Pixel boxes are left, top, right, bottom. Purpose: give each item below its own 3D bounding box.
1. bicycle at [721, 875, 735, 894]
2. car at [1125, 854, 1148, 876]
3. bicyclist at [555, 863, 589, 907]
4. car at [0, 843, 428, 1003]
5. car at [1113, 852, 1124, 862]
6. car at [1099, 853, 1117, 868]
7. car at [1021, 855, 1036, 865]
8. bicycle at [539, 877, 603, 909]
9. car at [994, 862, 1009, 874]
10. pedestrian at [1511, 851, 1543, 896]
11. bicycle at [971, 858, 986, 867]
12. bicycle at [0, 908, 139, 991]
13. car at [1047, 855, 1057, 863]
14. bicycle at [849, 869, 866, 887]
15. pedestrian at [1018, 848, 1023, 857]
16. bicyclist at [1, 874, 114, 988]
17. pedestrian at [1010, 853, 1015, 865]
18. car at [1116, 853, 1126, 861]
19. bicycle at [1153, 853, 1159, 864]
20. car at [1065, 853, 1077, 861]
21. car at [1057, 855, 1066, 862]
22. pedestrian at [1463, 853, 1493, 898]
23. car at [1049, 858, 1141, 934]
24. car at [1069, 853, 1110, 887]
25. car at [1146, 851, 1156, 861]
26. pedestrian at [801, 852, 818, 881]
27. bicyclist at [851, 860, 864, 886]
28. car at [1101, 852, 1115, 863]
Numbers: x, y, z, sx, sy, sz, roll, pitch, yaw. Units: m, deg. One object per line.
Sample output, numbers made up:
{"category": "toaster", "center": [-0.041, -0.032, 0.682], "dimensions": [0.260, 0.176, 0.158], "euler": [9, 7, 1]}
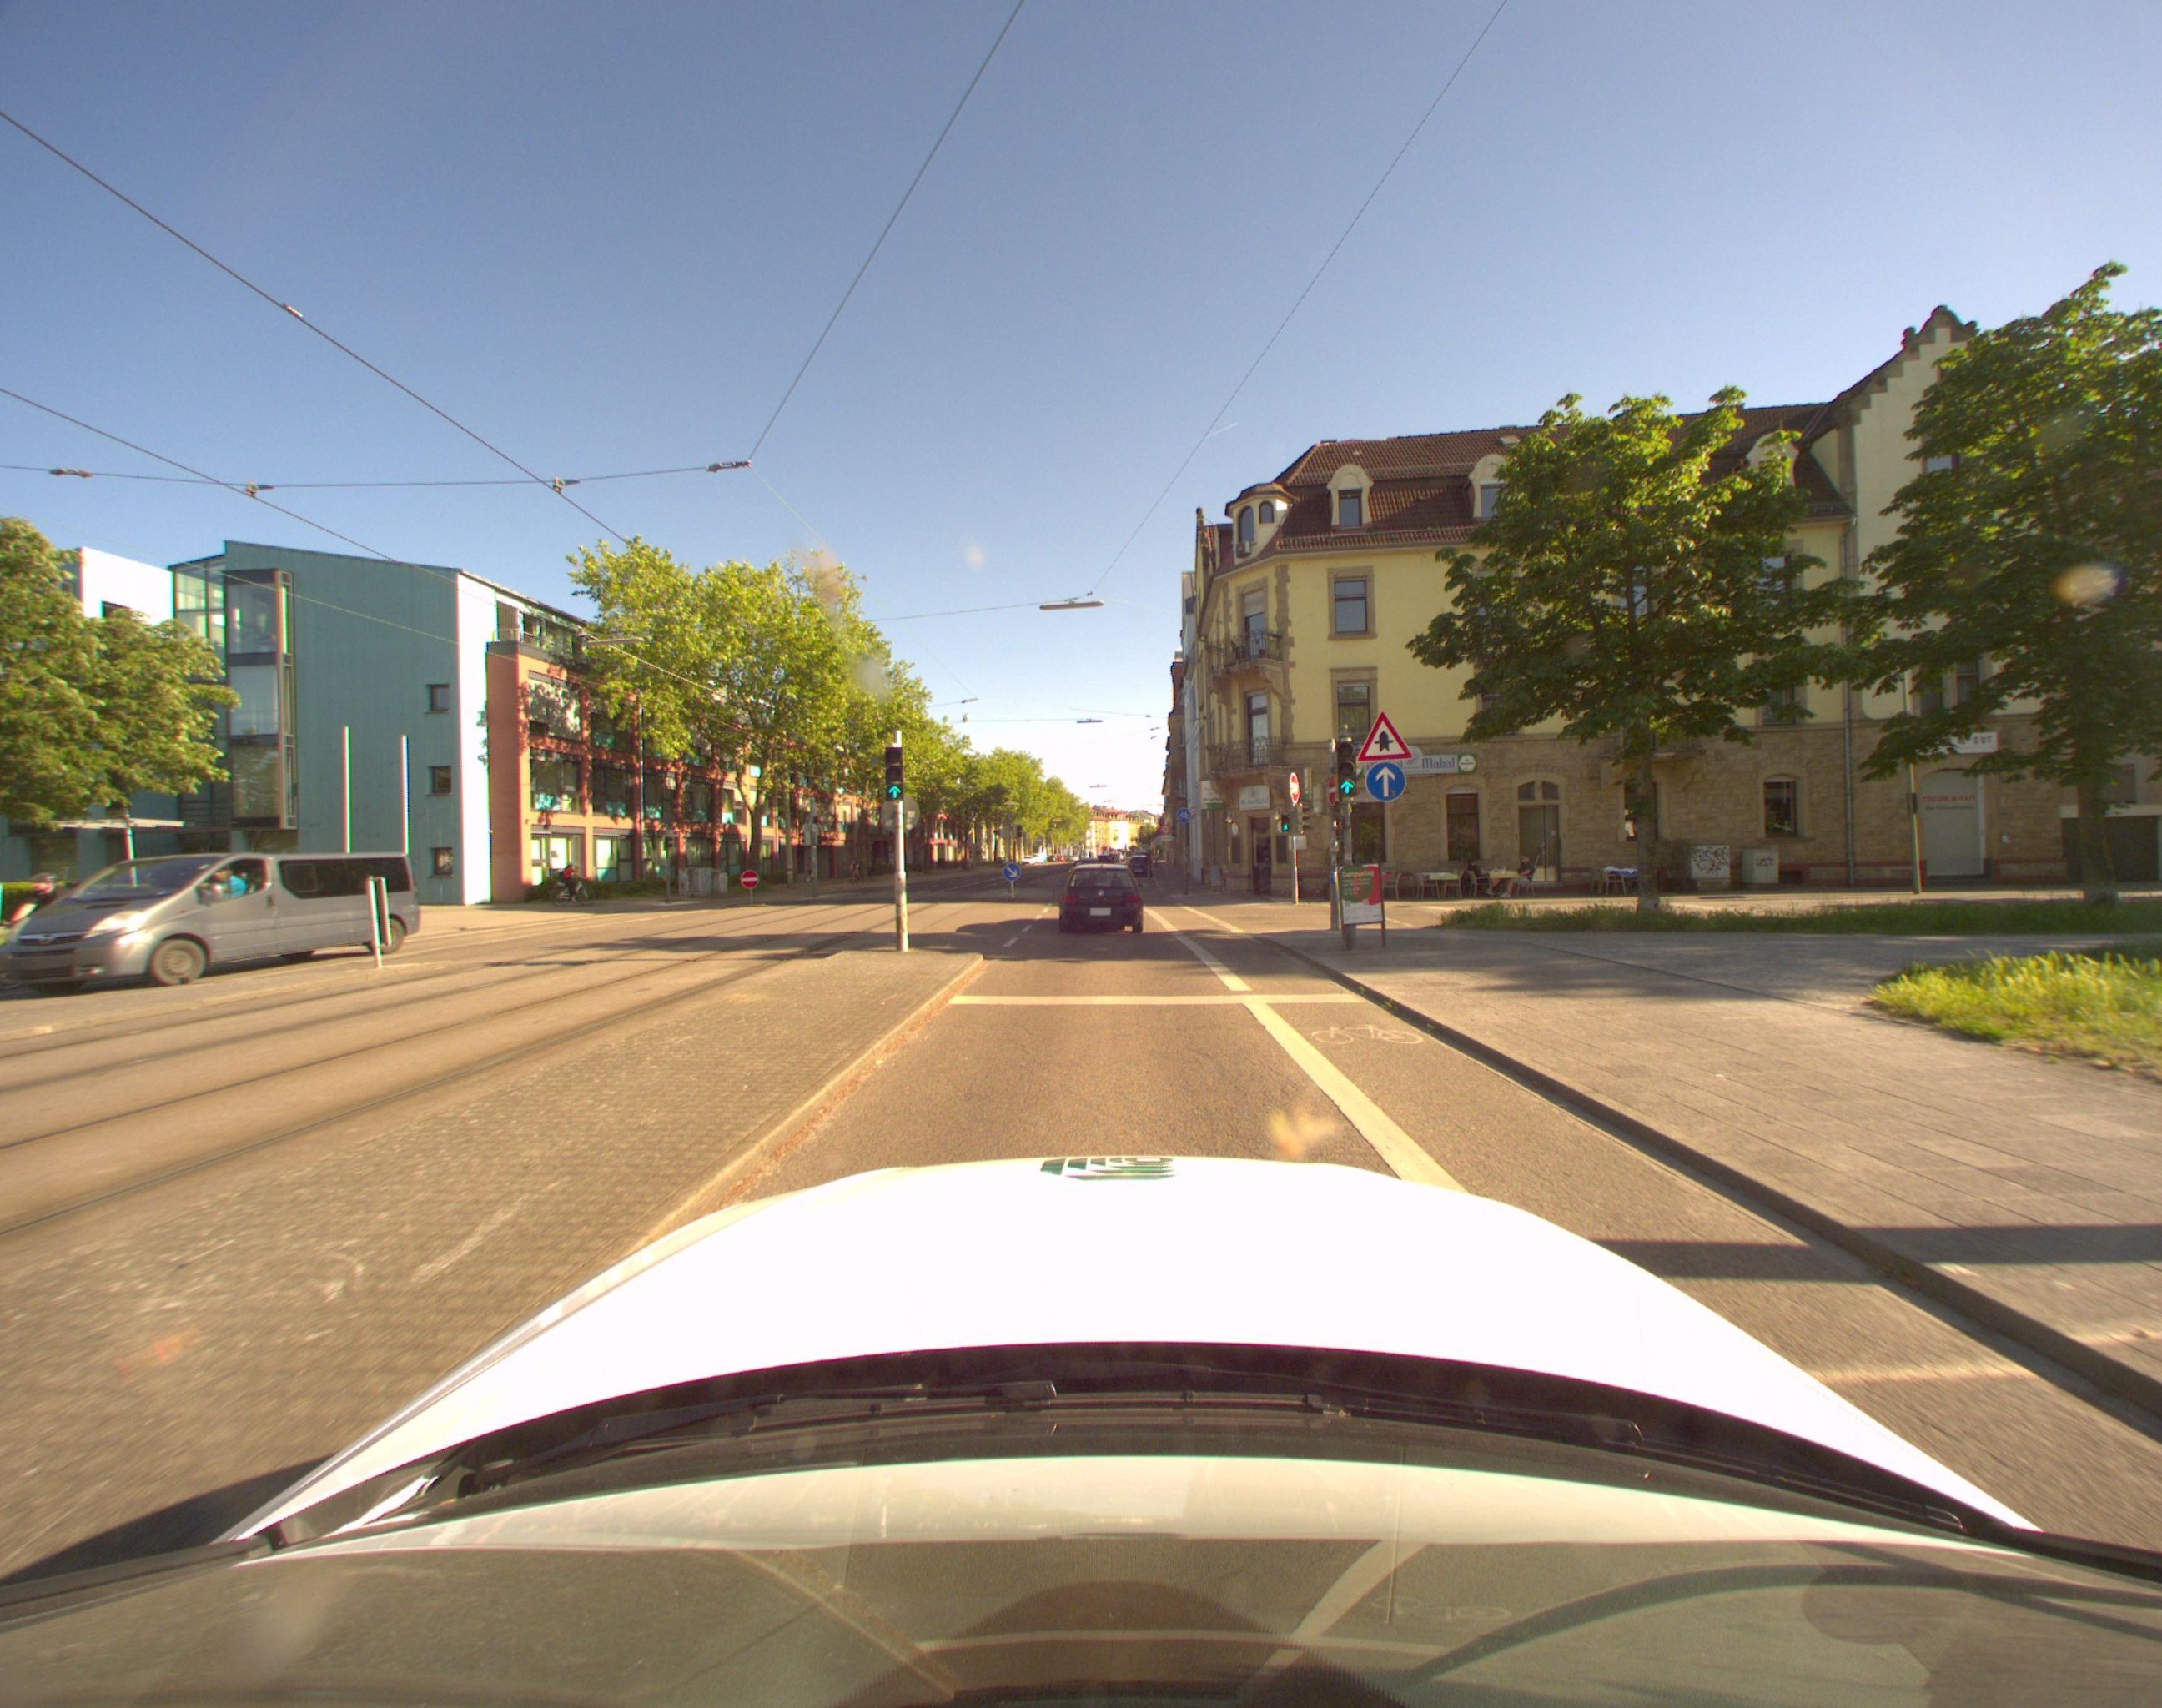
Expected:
{"category": "bicycle", "center": [-18.002, 1.558, 41.525], "dimensions": [0.522, 0.906, 1.534], "euler": [-1, 0, -19]}
{"category": "car", "center": [4.023, 0.751, 58.763], "dimensions": [1.647, 1.482, 4.005], "euler": [-1, 0, 4]}
{"category": "bicyclist", "center": [-19.845, 1.189, 31.741], "dimensions": [0.599, 1.692, 0.938], "euler": [0, 0, 29]}
{"category": "car", "center": [-14.038, 0.905, 13.516], "dimensions": [2.013, 2.013, 5.250], "euler": [-3, 1, 0]}
{"category": "car", "center": [6.041, 0.450, 131.894], "dimensions": [1.628, 1.472, 3.734], "euler": [-2, 0, 5]}
{"category": "car", "center": [2.798, 0.664, 83.324], "dimensions": [1.628, 1.472, 3.734], "euler": [-1, 0, 5]}
{"category": "car", "center": [-8.824, 0.973, 138.108], "dimensions": [2.003, 1.572, 4.698], "euler": [0, 0, 3]}
{"category": "bicycle", "center": [-19.843, 1.490, 31.743], "dimensions": [0.625, 1.129, 2.048], "euler": [1, 0, 29]}
{"category": "car", "center": [-11.088, 1.982, 113.848], "dimensions": [1.500, 1.454, 3.467], "euler": [-2, -2, 5]}
{"category": "pedestrian", "center": [13.852, 0.599, 25.294], "dimensions": [0.635, 1.360, 0.703], "euler": [0, 0, 5]}
{"category": "bicycle", "center": [-15.195, 1.258, 120.661], "dimensions": [1.999, 1.278, 0.665], "euler": [0, 0, 4]}
{"category": "bicycle", "center": [-16.394, 1.499, 12.968], "dimensions": [0.584, 1.113, 1.827], "euler": [-3, 0, 2]}
{"category": "car", "center": [-6.147, 1.040, 172.631], "dimensions": [1.563, 1.533, 3.577], "euler": [-1, -1, 5]}
{"category": "bicycle", "center": [-14.386, 1.532, 52.398], "dimensions": [0.643, 1.042, 1.923], "euler": [0, 0, -4]}
{"category": "pedestrian", "center": [-11.878, -0.281, 159.385], "dimensions": [0.793, 1.820, 0.671], "euler": [0, 0, 4]}
{"category": "bicyclist", "center": [-16.411, 1.202, 13.082], "dimensions": [0.584, 1.710, 0.902], "euler": [-3, 0, 2]}
{"category": "pedestrian", "center": [-11.035, 0.838, 131.401], "dimensions": [0.785, 1.870, 0.668], "euler": [0, 0, -10]}
{"category": "car", "center": [7.428, 0.598, 151.306], "dimensions": [1.628, 1.472, 3.734], "euler": [-1, 0, 5]}
{"category": "bicycle", "center": [8.029, 0.517, 87.163], "dimensions": [0.512, 1.139, 2.261], "euler": [-3, 0, 4]}
{"category": "car", "center": [-2.050, 0.703, 176.160], "dimensions": [1.742, 1.518, 4.083], "euler": [-3, 0, 11]}
{"category": "car", "center": [-4.472, 1.081, 189.145], "dimensions": [1.563, 1.533, 3.577], "euler": [-1, -1, 5]}
{"category": "pedestrian", "center": [12.400, 0.657, 25.452], "dimensions": [0.635, 1.360, 0.703], "euler": [0, 0, 5]}
{"category": "car", "center": [0.397, 0.830, 17.730], "dimensions": [1.741, 1.375, 4.004], "euler": [-2, 0, 3]}
{"category": "car", "center": [0.488, 0.770, 41.415], "dimensions": [1.740, 1.537, 3.897], "euler": [-2, 0, 5]}
{"category": "car", "center": [13.129, 0.400, 153.045], "dimensions": [1.751, 1.837, 3.552], "euler": [0, 0, 5]}
{"category": "pedestrian", "center": [-18.864, 0.885, 56.621], "dimensions": [0.908, 2.013, 0.780], "euler": [0, 0, -4]}
{"category": "bicyclist", "center": [-14.389, 1.232, 52.446], "dimensions": [0.643, 1.611, 0.780], "euler": [0, 0, -4]}
{"category": "car", "center": [3.750, 0.519, 112.687], "dimensions": [1.628, 1.472, 3.734], "euler": [-1, 0, 5]}
